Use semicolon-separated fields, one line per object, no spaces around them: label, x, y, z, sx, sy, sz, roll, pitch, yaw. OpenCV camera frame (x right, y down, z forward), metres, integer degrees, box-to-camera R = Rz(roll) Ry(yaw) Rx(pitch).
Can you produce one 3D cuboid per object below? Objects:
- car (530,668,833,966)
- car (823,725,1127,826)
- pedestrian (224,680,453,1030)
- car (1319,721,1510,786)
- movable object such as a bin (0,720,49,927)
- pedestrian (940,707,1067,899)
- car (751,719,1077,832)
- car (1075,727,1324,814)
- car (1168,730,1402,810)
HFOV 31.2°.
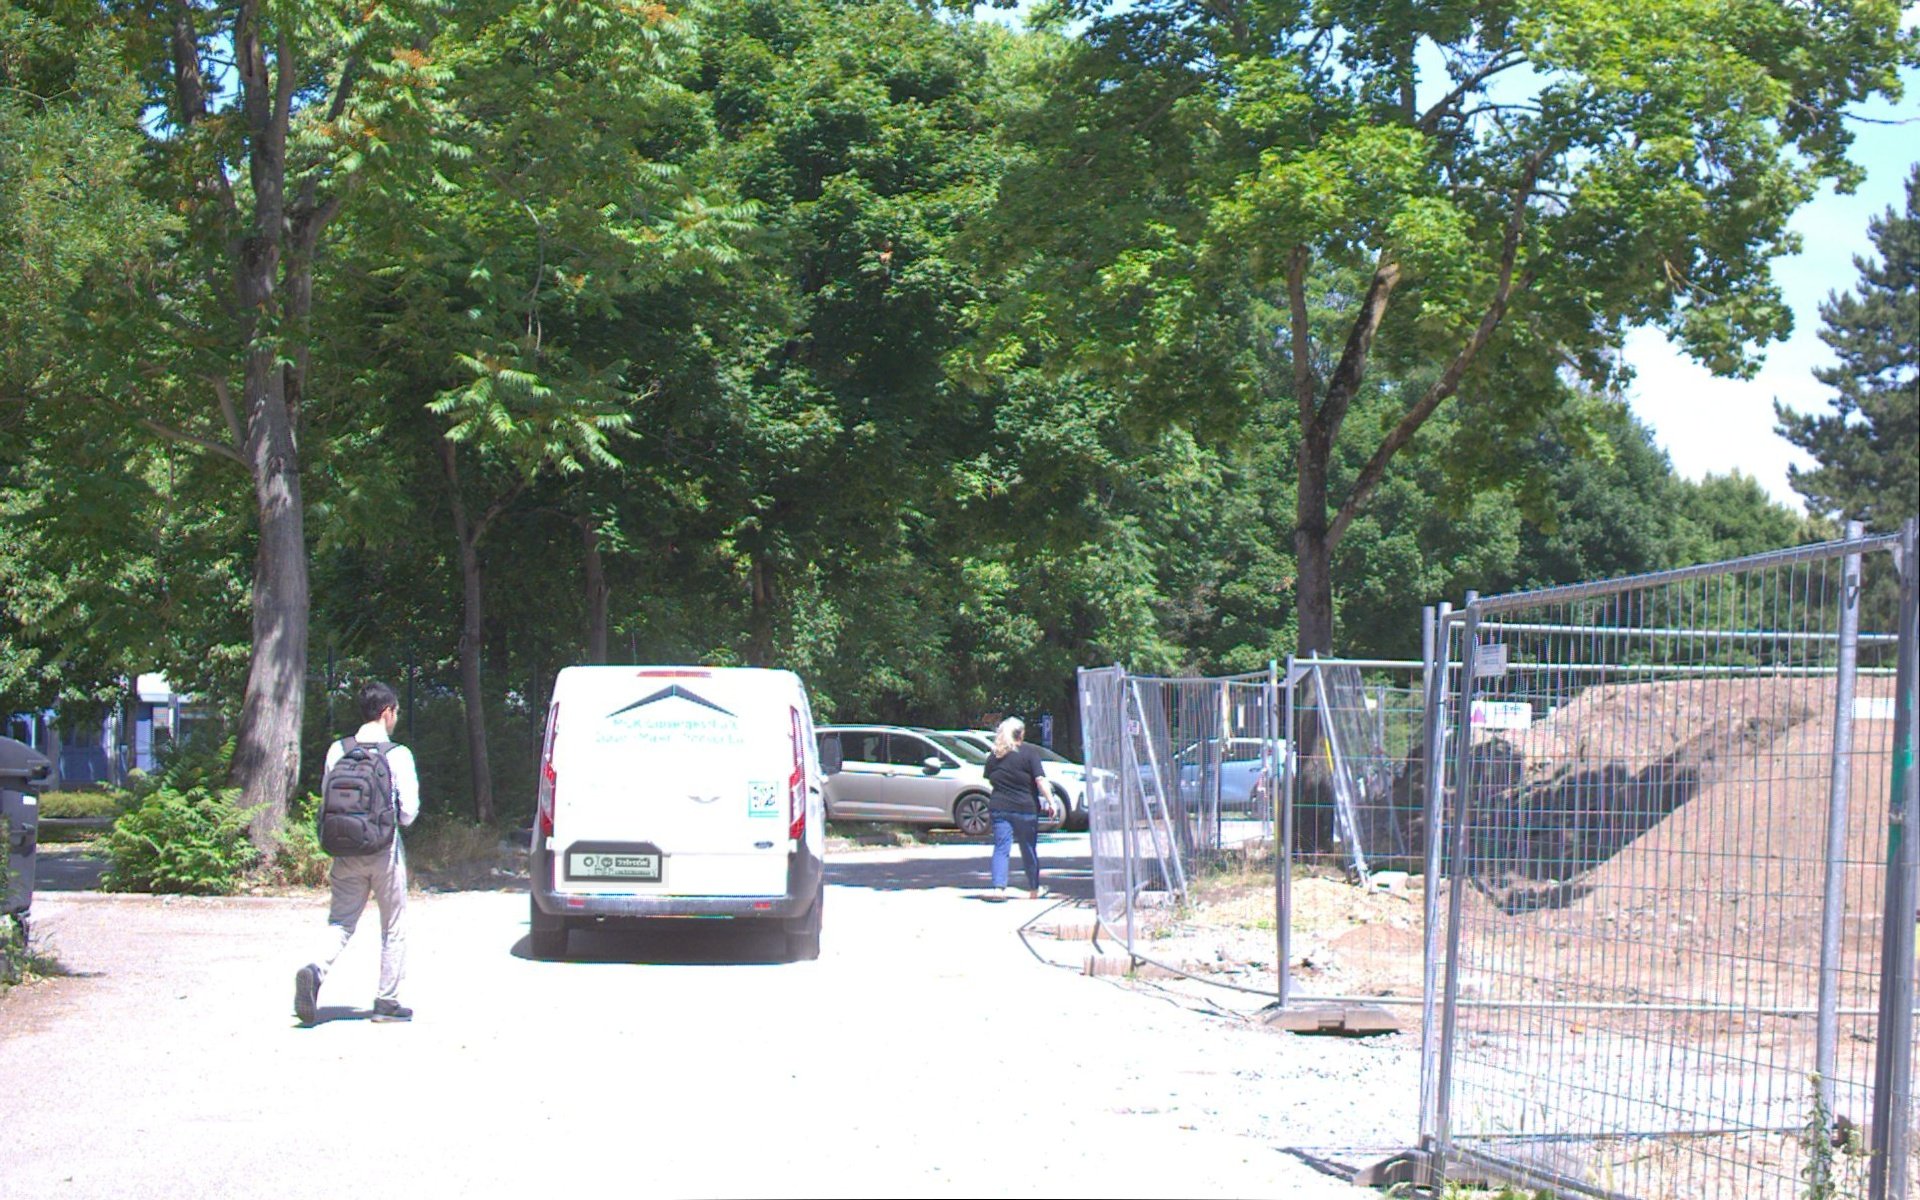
car;-1.987;1.510;24.807;1.972;1.941;4.581;0;-2;-4
car;0.246;2.772;54.733;4.510;1.526;1.723;0;-3;21
pedestrian;-3.158;1.273;17.572;0.874;1.724;1.080;0;-2;6
car;11.456;3.849;86.726;4.510;1.592;1.723;-1;-2;21
movable object such as a bin;-7.012;1.514;23.410;1.159;1.389;1.113;-2;-3;44
pedestrian;0.391;1.764;30.151;1.035;1.644;1.049;0;-2;5
car;-0.690;2.678;52.382;4.510;1.604;1.997;0;-5;22
car;4.635;3.279;66.516;4.510;1.592;1.723;0;-2;21
car;6.785;3.534;71.700;4.510;1.592;1.934;0;-2;21
